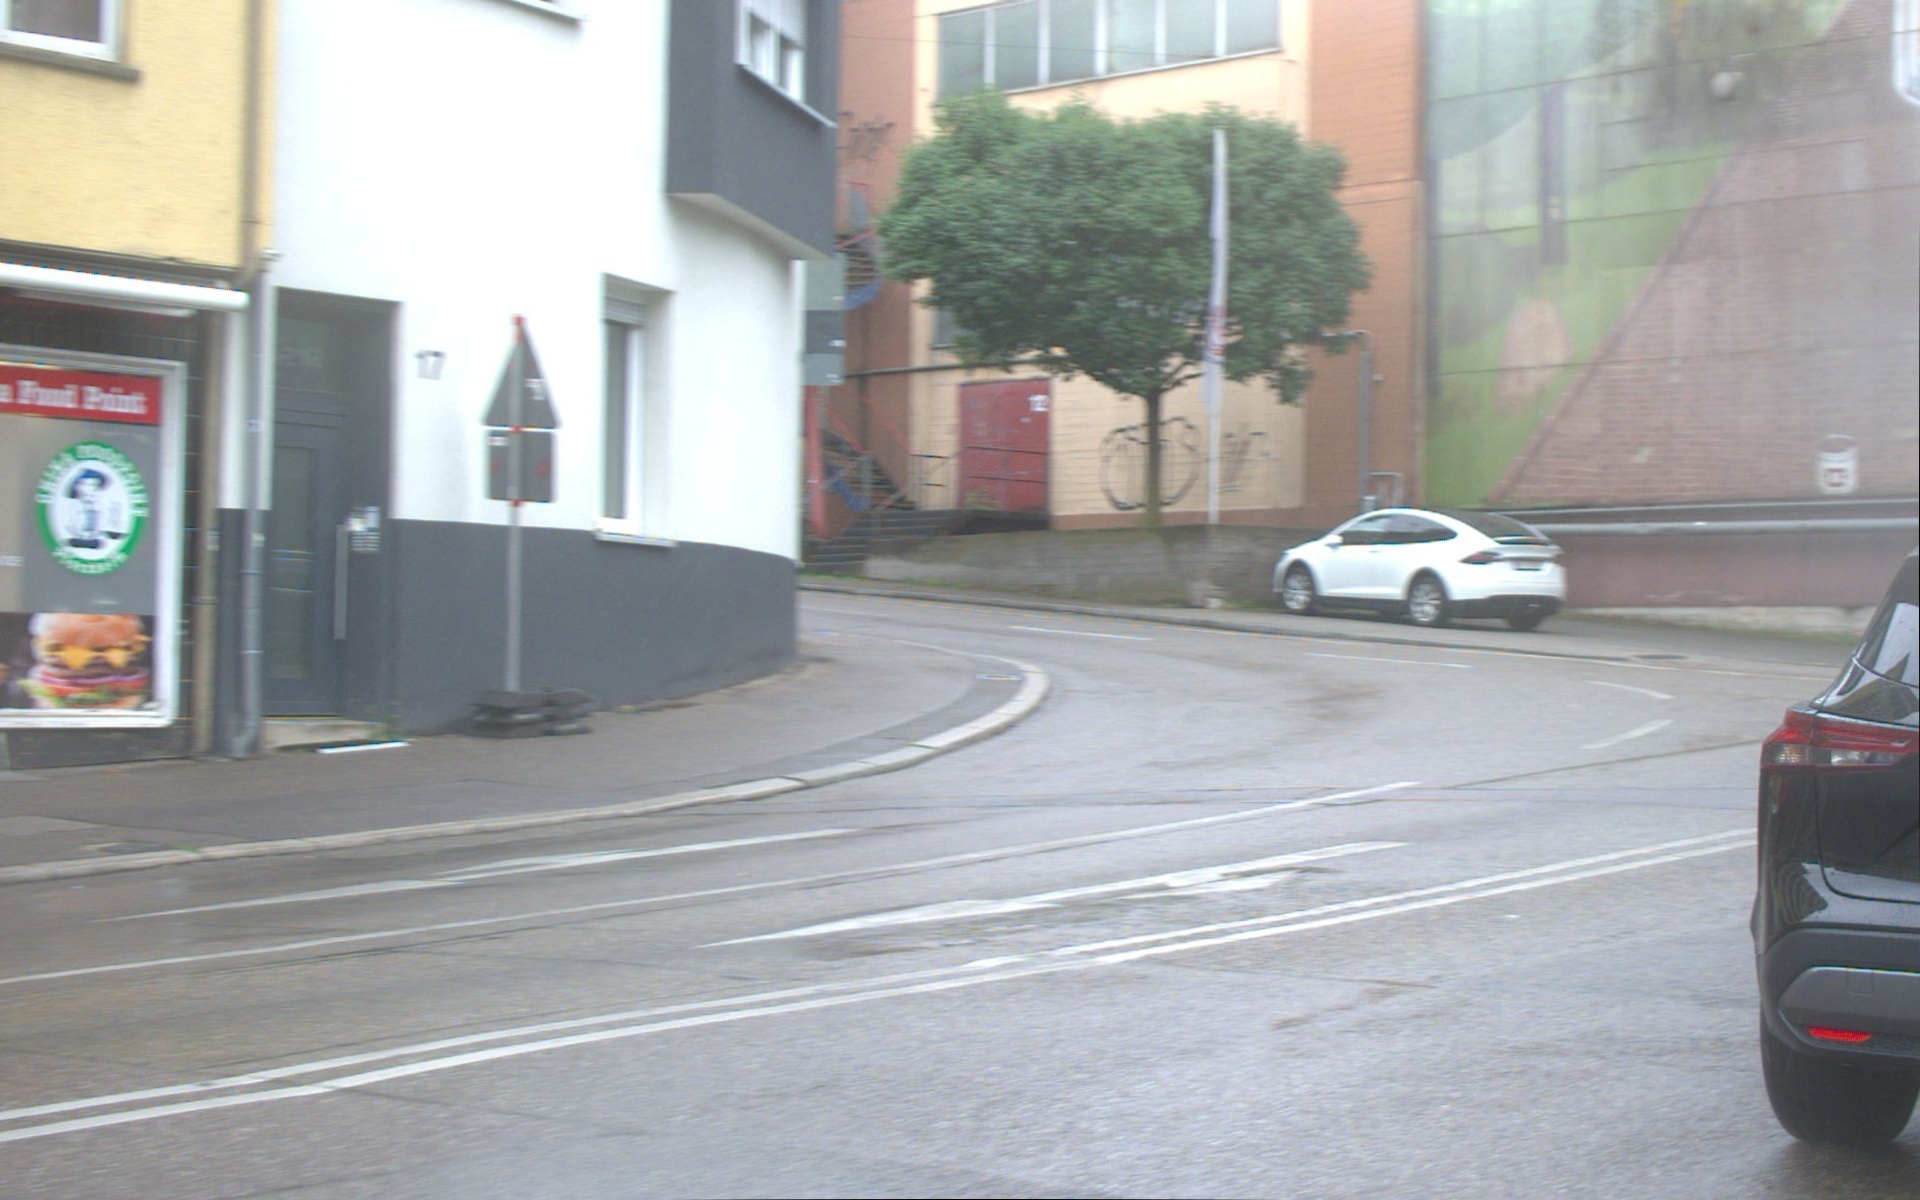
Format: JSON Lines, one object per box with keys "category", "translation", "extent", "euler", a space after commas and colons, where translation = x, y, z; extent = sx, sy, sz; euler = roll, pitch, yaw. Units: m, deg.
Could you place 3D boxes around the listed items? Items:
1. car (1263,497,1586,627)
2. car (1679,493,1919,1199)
{"category": "car", "translation": [6.674, -0.581, 49.958], "extent": [1.853, 1.611, 4.916], "euler": [1, 3, -32]}
{"category": "car", "translation": [3.417, 0.547, 8.798], "extent": [1.884, 1.588, 3.914], "euler": [1, 1, 31]}
